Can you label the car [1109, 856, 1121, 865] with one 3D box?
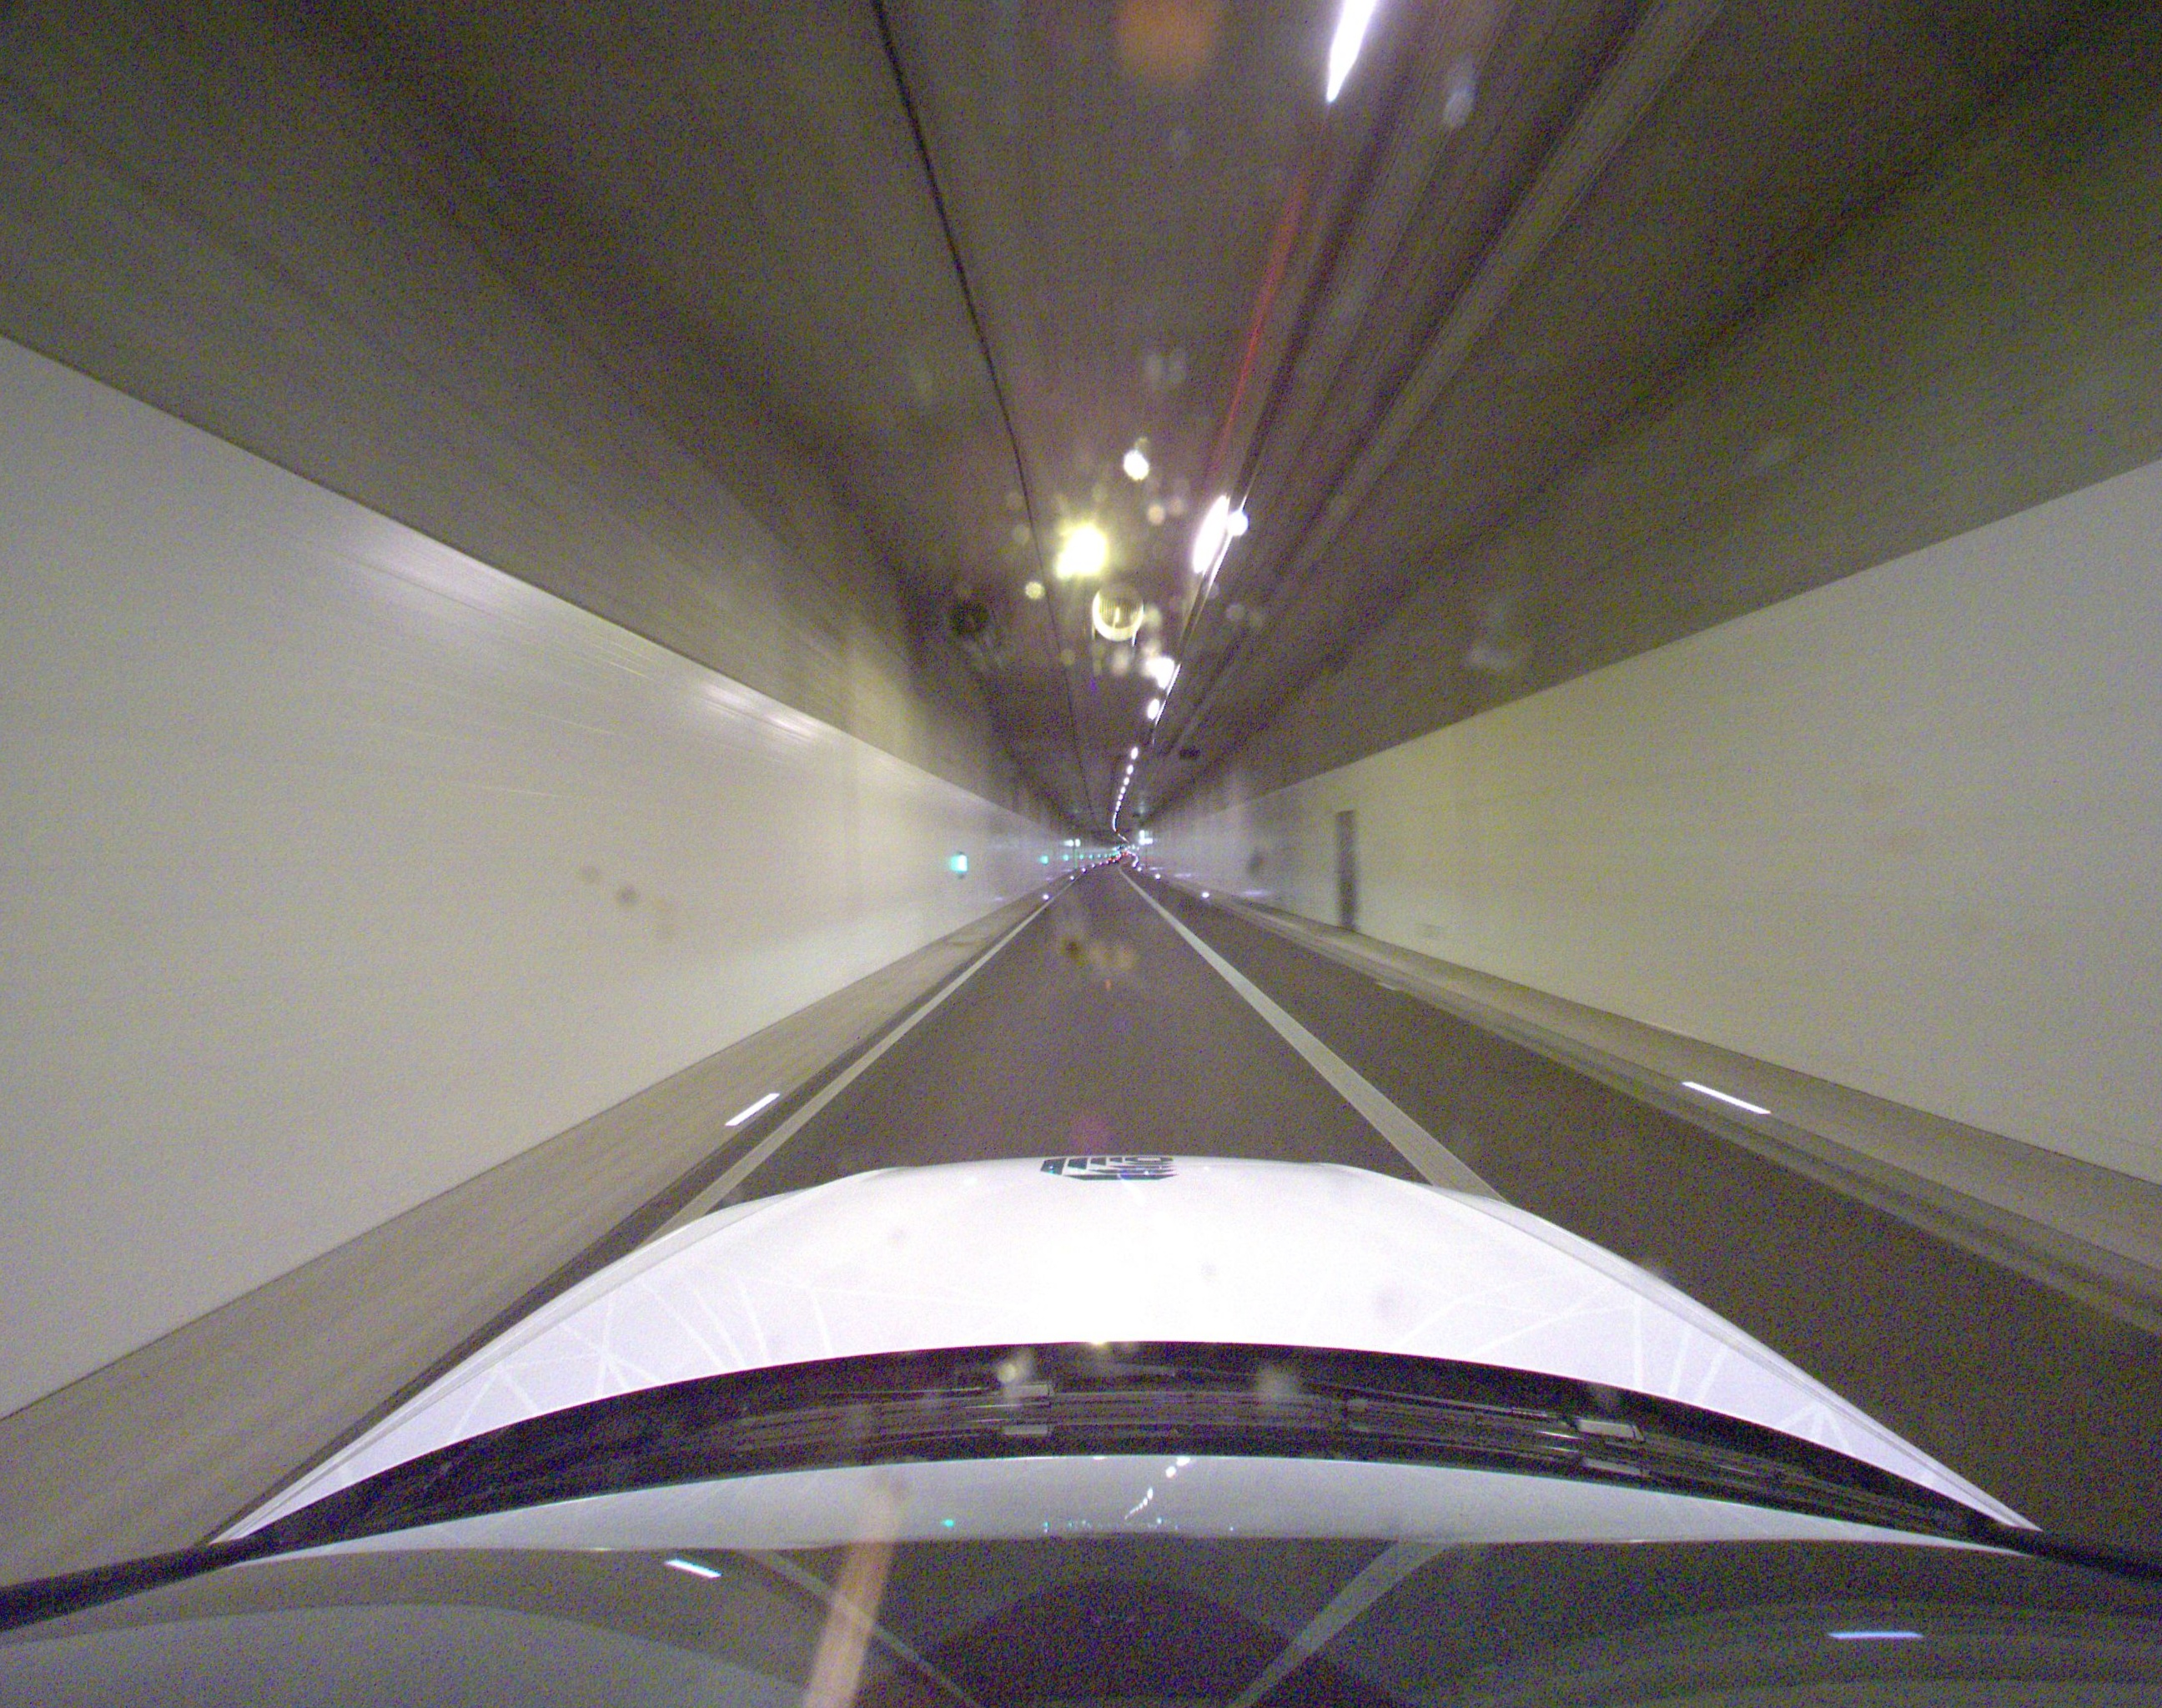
[{"bbox_3d":[5.659,1.057,137.570,1.986,1.420,4.002,0,0,2],"label":"car"}]
